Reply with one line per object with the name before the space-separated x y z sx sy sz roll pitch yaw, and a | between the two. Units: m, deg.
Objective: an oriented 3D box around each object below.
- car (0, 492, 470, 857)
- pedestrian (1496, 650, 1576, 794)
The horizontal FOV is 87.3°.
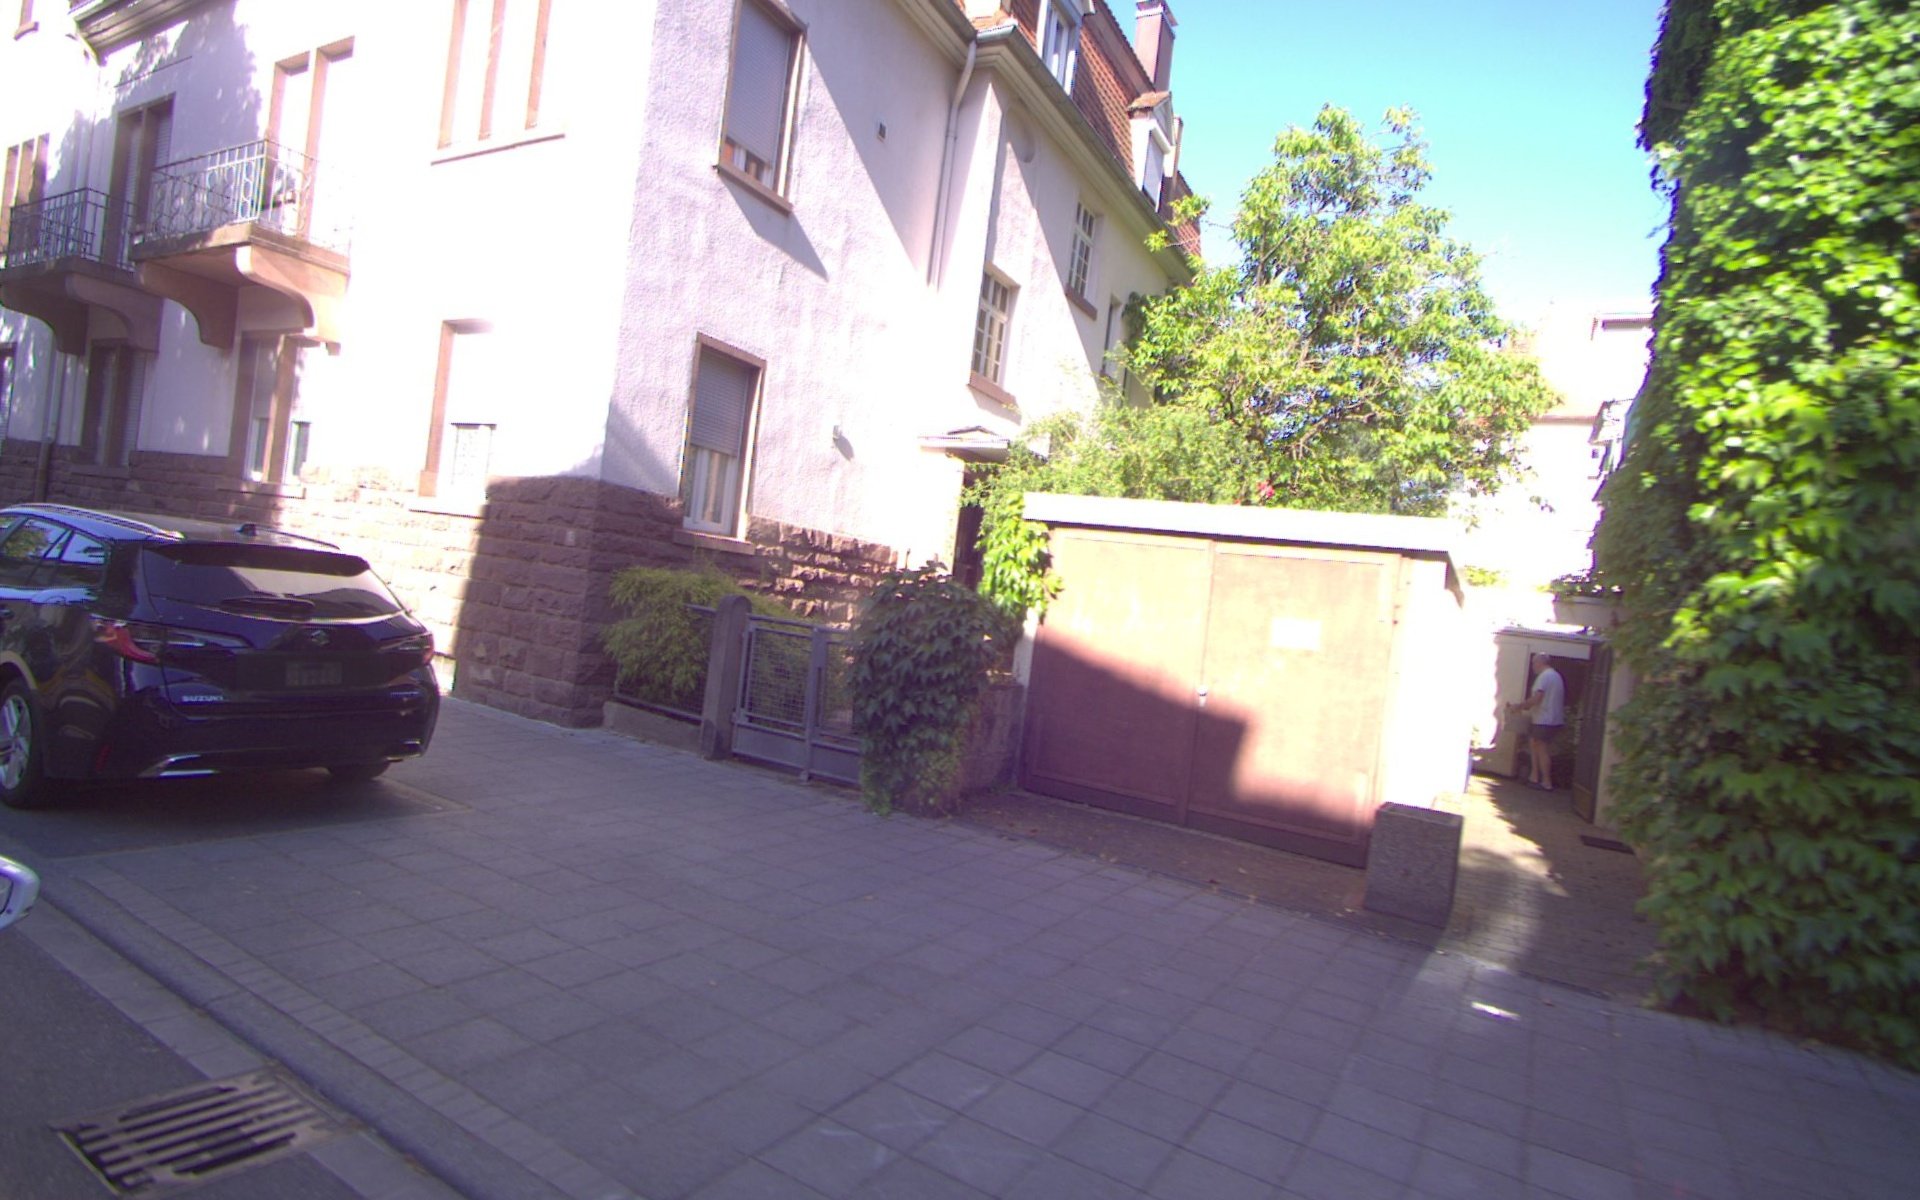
car | -5.090 0.183 6.051 4.428 1.471 1.646 7 -1 32
pedestrian | 7.751 1.624 13.536 0.752 1.804 0.601 6 -2 31
